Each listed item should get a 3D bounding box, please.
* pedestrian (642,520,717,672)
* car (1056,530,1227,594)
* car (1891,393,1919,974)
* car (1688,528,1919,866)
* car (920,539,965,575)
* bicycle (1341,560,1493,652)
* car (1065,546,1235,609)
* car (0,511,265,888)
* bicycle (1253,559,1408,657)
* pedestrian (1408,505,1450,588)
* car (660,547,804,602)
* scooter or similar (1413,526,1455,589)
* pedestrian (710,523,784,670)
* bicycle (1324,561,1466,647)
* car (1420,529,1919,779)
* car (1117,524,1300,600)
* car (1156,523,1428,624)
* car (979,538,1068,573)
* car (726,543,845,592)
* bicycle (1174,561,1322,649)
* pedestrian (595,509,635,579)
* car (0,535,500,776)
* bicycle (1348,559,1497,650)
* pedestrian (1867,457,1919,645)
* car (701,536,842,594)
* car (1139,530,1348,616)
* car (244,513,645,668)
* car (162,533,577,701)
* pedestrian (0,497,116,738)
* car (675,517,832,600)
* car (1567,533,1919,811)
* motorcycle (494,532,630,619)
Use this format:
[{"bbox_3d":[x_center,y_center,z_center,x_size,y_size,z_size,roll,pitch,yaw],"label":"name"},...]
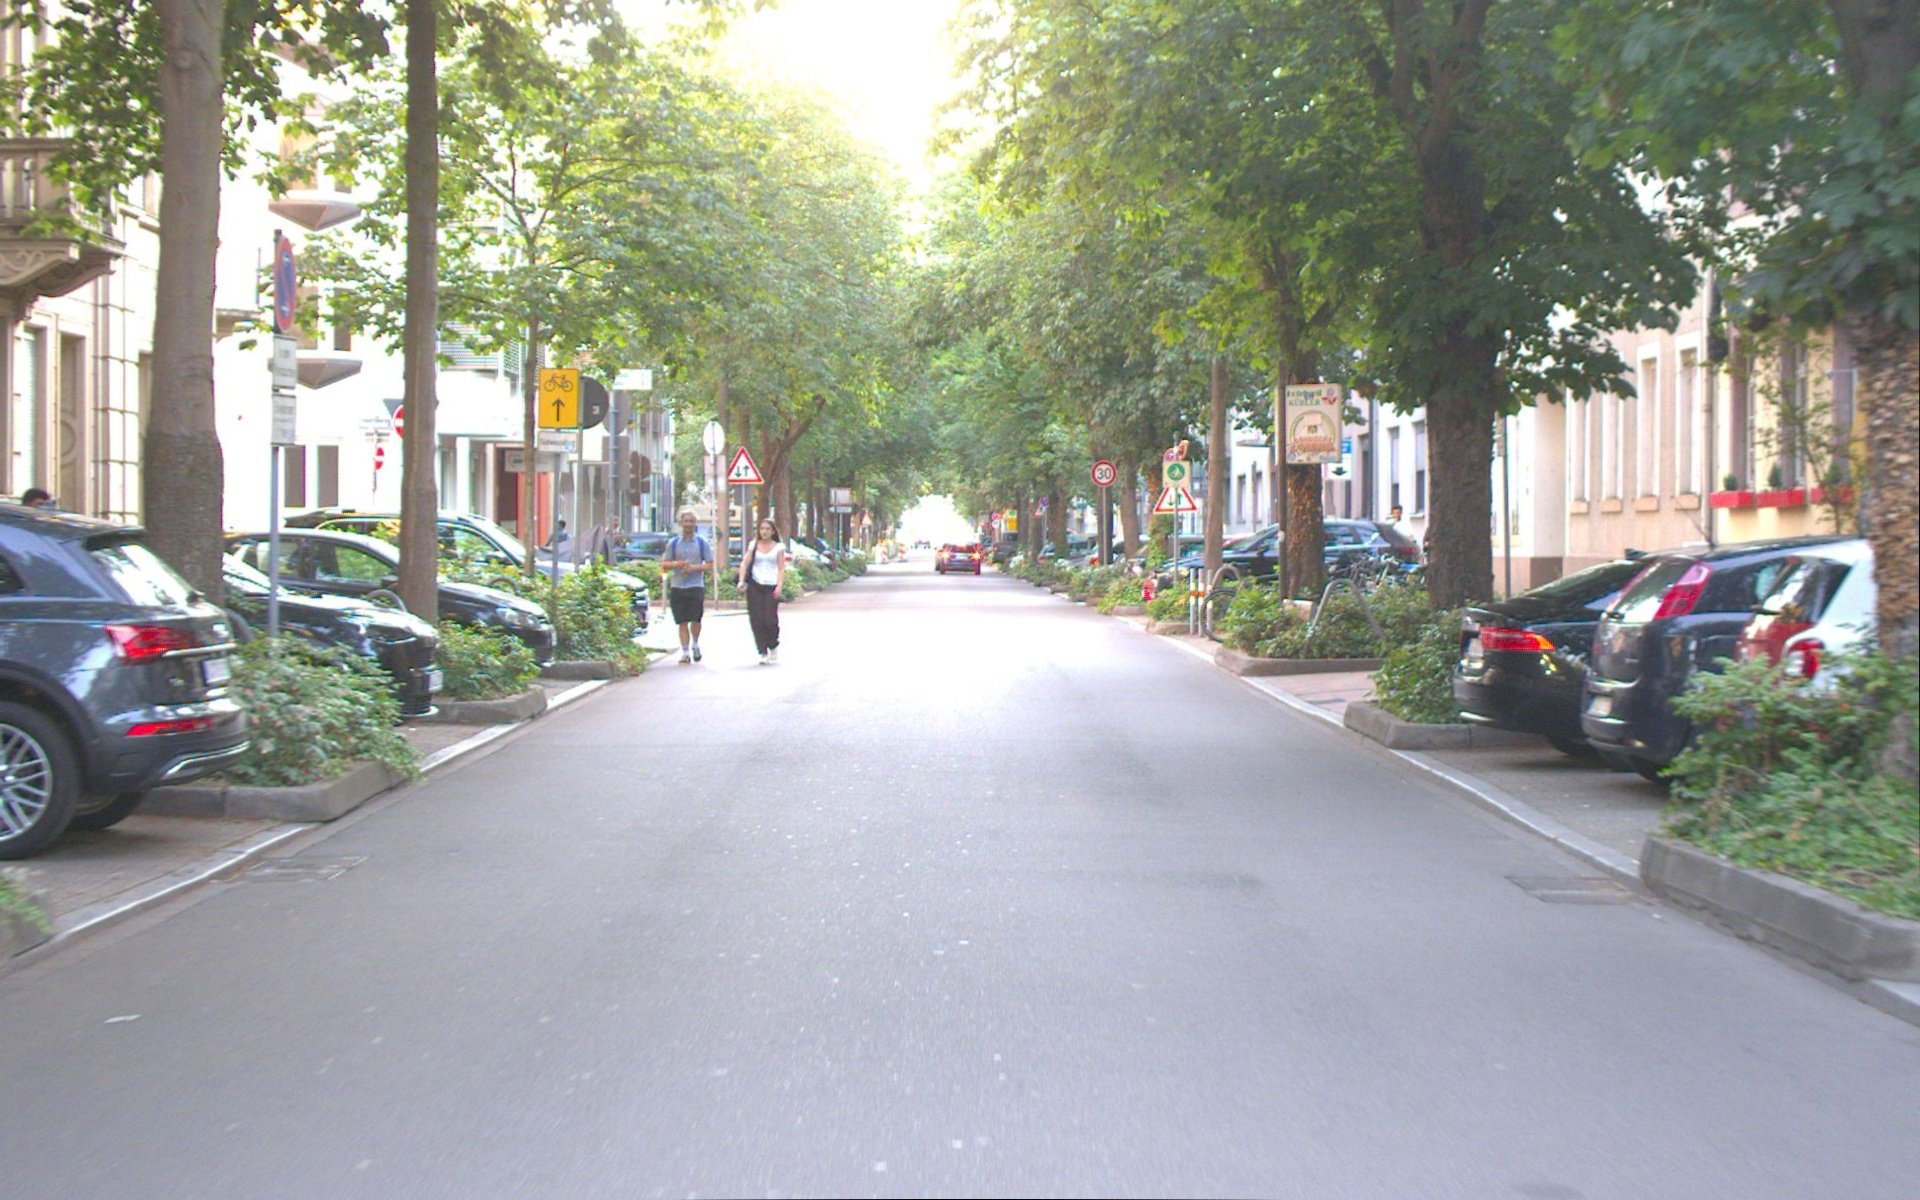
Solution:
[{"bbox_3d":[-3.228,-0.054,39.617,0.794,1.731,0.831,-1,1,-1],"label":"pedestrian"},{"bbox_3d":[5.077,-1.075,96.532,4.718,1.704,1.950,1,2,2],"label":"car"},{"bbox_3d":[5.397,0.238,10.053,4.689,2.004,2.037,-3,1,-1],"label":"car"},{"bbox_3d":[5.760,0.385,17.480,3.680,1.573,1.714,-3,1,0],"label":"car"},{"bbox_3d":[-0.784,-1.906,153.308,1.956,1.560,4.282,-1,1,0],"label":"car"},{"bbox_3d":[5.804,0.073,43.711,1.794,1.124,0.664,-1,1,-6],"label":"bicycle"},{"bbox_3d":[4.551,-0.552,82.612,3.876,1.435,1.848,-1,1,-3],"label":"car"},{"bbox_3d":[-5.667,0.384,16.589,4.201,1.666,1.908,2,2,0],"label":"car"},{"bbox_3d":[4.607,0.097,42.801,1.829,1.174,0.673,-1,1,-1],"label":"bicycle"},{"bbox_3d":[8.715,-0.990,63.859,0.655,1.531,0.831,-1,1,1],"label":"pedestrian"},{"bbox_3d":[-6.398,-0.724,96.694,3.871,1.481,1.757,1,1,2],"label":"car"},{"bbox_3d":[8.715,-0.788,63.202,0.655,1.149,0.831,-1,1,1],"label":"scooter or similar"},{"bbox_3d":[-2.442,-0.047,39.467,0.794,1.665,0.831,-1,1,-1],"label":"pedestrian"},{"bbox_3d":[5.803,0.046,45.899,1.794,1.104,0.500,-1,1,-5],"label":"bicycle"},{"bbox_3d":[5.409,0.291,22.604,4.400,1.389,1.886,-3,1,-2],"label":"car"},{"bbox_3d":[5.023,-0.778,69.698,3.483,1.447,1.900,-1,1,-2],"label":"car"},{"bbox_3d":[5.567,-0.455,57.993,4.426,1.650,1.899,0,1,1],"label":"car"},{"bbox_3d":[3.081,-2.176,167.957,4.268,1.560,1.963,-1,0,0],"label":"car"},{"bbox_3d":[-6.349,-1.184,125.168,4.203,1.630,1.963,-1,0,0],"label":"car"},{"bbox_3d":[3.875,0.061,46.289,1.837,1.131,0.745,-1,1,-10],"label":"bicycle"},{"bbox_3d":[-8.681,-1.412,86.572,0.704,1.751,0.739,1,0,23],"label":"pedestrian"},{"bbox_3d":[-5.252,0.346,23.525,3.945,1.527,1.907,1,1,-1],"label":"car"},{"bbox_3d":[5.987,0.053,44.528,1.794,1.139,0.651,-1,1,-9],"label":"bicycle"},{"bbox_3d":[8.902,-0.471,32.203,0.615,1.733,0.623,-2,2,0],"label":"pedestrian"},{"bbox_3d":[-6.412,-1.212,117.443,4.682,1.848,1.963,-1,0,0],"label":"car"},{"bbox_3d":[5.018,-0.497,61.182,3.483,1.447,1.900,-1,1,-2],"label":"car"},{"bbox_3d":[-6.065,-0.131,40.813,4.426,1.645,1.873,2,2,1],"label":"car"},{"bbox_3d":[-5.683,0.143,33.406,3.692,1.453,1.873,2,2,-1],"label":"car"},{"bbox_3d":[-6.709,0.119,25.333,0.734,1.733,0.671,1,1,6],"label":"pedestrian"},{"bbox_3d":[-6.287,-1.255,105.002,4.682,2.469,2.000,1,0,0],"label":"car"},{"bbox_3d":[5.761,0.329,20.082,3.987,1.433,1.927,-3,1,-2],"label":"car"},{"bbox_3d":[-6.927,-0.424,59.825,2.208,1.476,0.860,0,2,-18],"label":"motorcycle"}]
